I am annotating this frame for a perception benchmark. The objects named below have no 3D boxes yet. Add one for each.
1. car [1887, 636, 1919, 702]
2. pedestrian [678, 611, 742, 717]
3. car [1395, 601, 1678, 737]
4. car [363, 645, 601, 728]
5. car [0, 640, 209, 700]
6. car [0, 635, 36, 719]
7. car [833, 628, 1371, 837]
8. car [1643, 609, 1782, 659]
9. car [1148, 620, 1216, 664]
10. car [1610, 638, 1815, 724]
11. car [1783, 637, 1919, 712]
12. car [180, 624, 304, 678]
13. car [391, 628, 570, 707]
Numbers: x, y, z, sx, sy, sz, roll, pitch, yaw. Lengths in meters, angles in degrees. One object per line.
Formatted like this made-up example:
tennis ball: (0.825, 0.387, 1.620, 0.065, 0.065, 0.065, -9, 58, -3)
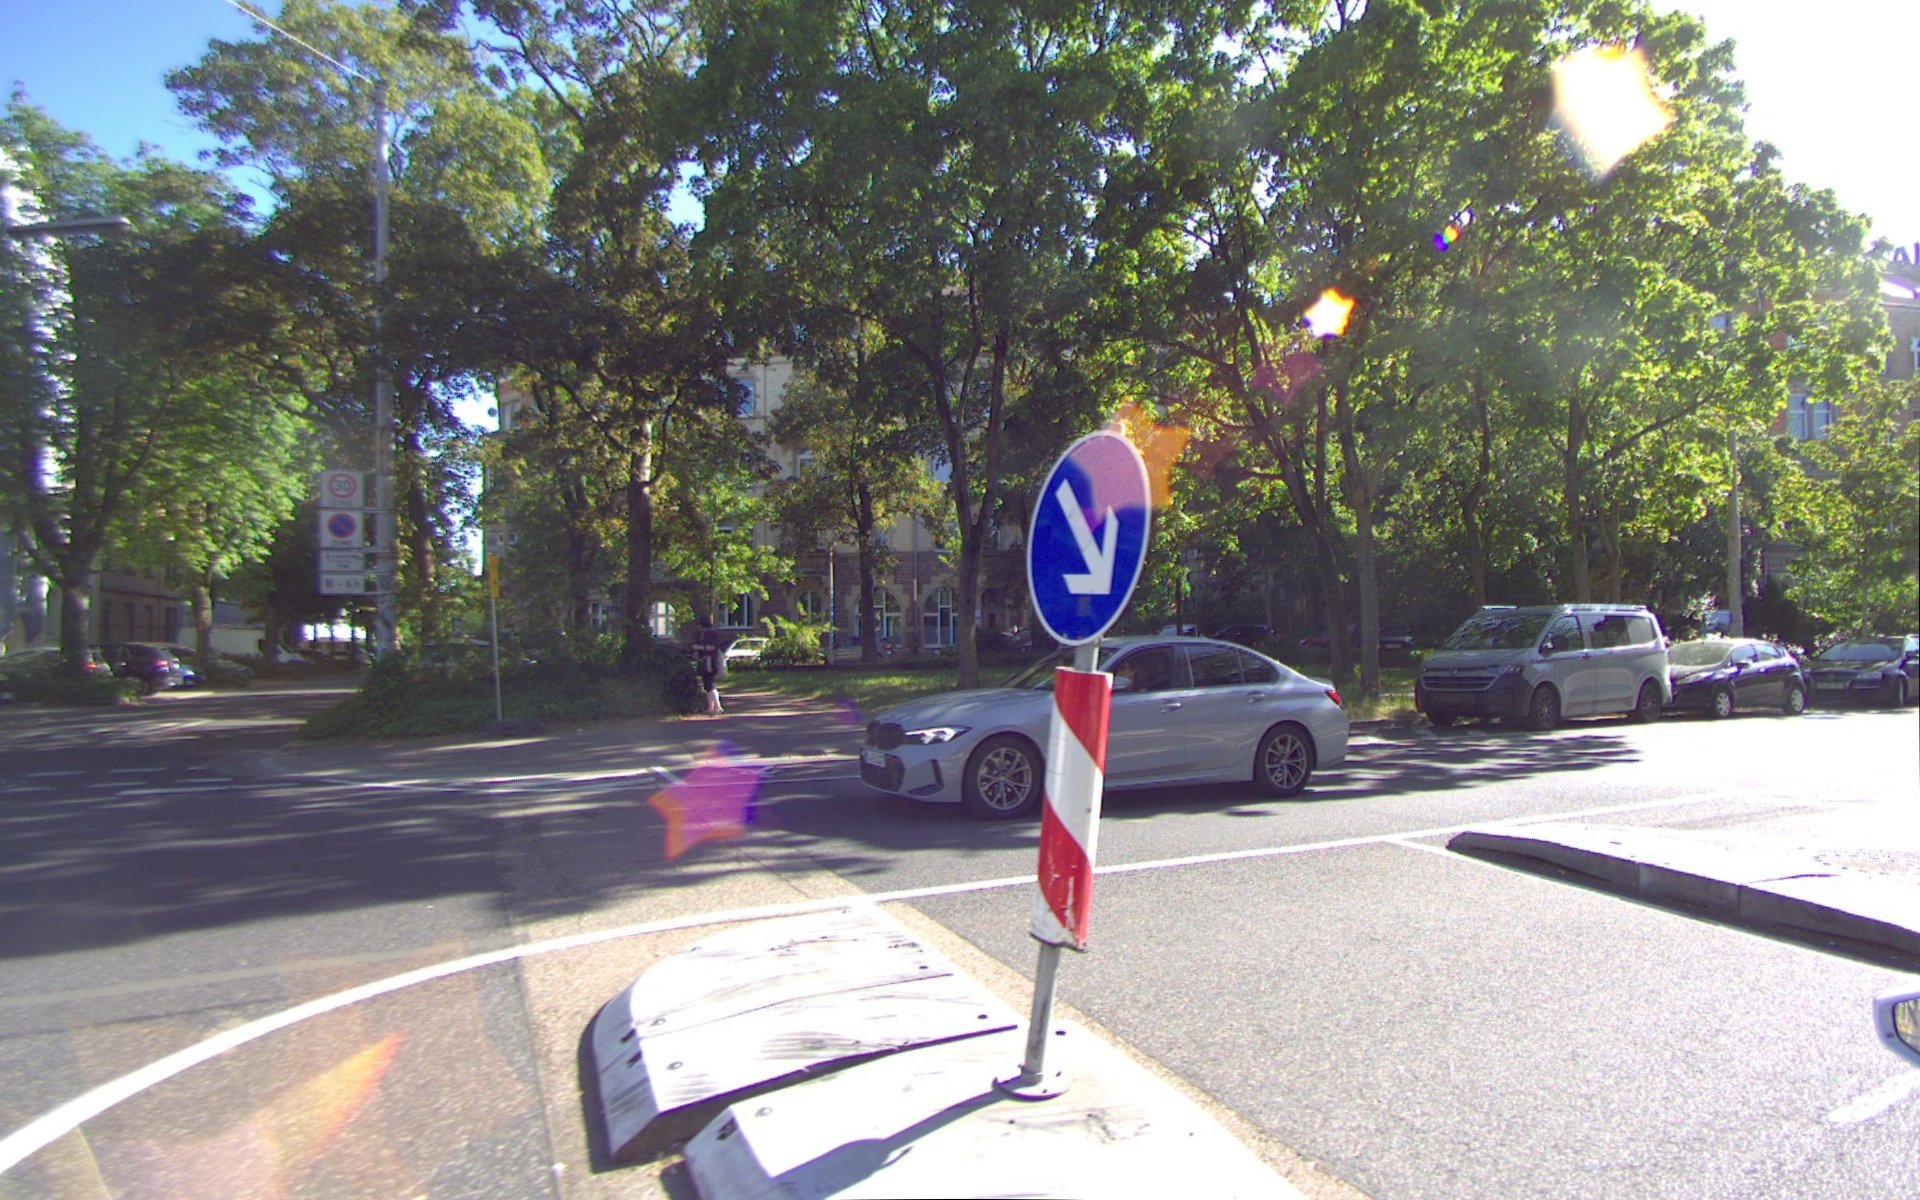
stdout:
car: (24.827, 1.647, 24.422, 4.496, 1.558, 1.775, 1, -2, -25)
pedestrian: (-4.330, 1.086, 17.396, 0.812, 1.778, 0.864, 1, -1, -36)
car: (9.974, 1.148, 17.321, 4.816, 2.062, 1.976, 1, -4, -29)
car: (-10.744, 1.922, 22.978, 4.622, 1.710, 1.889, 0, -3, -16)
car: (-26.681, 2.155, 31.499, 4.626, 1.710, 1.887, 0, -3, -19)
car: (-21.754, 1.575, 19.911, 4.632, 1.710, 1.885, 0, -3, -23)
car: (1.322, 1.039, 9.214, 4.646, 1.514, 1.800, 0, -2, -24)
car: (31.239, 1.429, 41.768, 4.364, 1.938, 1.866, 1, -3, -1)
car: (8.109, 1.581, 36.464, 1.565, 1.446, 4.179, -4, -5, 24)
car: (14.406, 1.508, 19.207, 3.905, 1.521, 1.460, 1, -4, -25)
car: (19.966, 1.590, 21.928, 4.219, 1.501, 1.584, 1, -4, -29)
car: (-36.618, 2.600, 51.364, 4.853, 2.657, 1.883, 0, -3, -26)
car: (-14.747, 2.029, 31.126, 4.851, 2.275, 1.883, 0, -3, -25)
